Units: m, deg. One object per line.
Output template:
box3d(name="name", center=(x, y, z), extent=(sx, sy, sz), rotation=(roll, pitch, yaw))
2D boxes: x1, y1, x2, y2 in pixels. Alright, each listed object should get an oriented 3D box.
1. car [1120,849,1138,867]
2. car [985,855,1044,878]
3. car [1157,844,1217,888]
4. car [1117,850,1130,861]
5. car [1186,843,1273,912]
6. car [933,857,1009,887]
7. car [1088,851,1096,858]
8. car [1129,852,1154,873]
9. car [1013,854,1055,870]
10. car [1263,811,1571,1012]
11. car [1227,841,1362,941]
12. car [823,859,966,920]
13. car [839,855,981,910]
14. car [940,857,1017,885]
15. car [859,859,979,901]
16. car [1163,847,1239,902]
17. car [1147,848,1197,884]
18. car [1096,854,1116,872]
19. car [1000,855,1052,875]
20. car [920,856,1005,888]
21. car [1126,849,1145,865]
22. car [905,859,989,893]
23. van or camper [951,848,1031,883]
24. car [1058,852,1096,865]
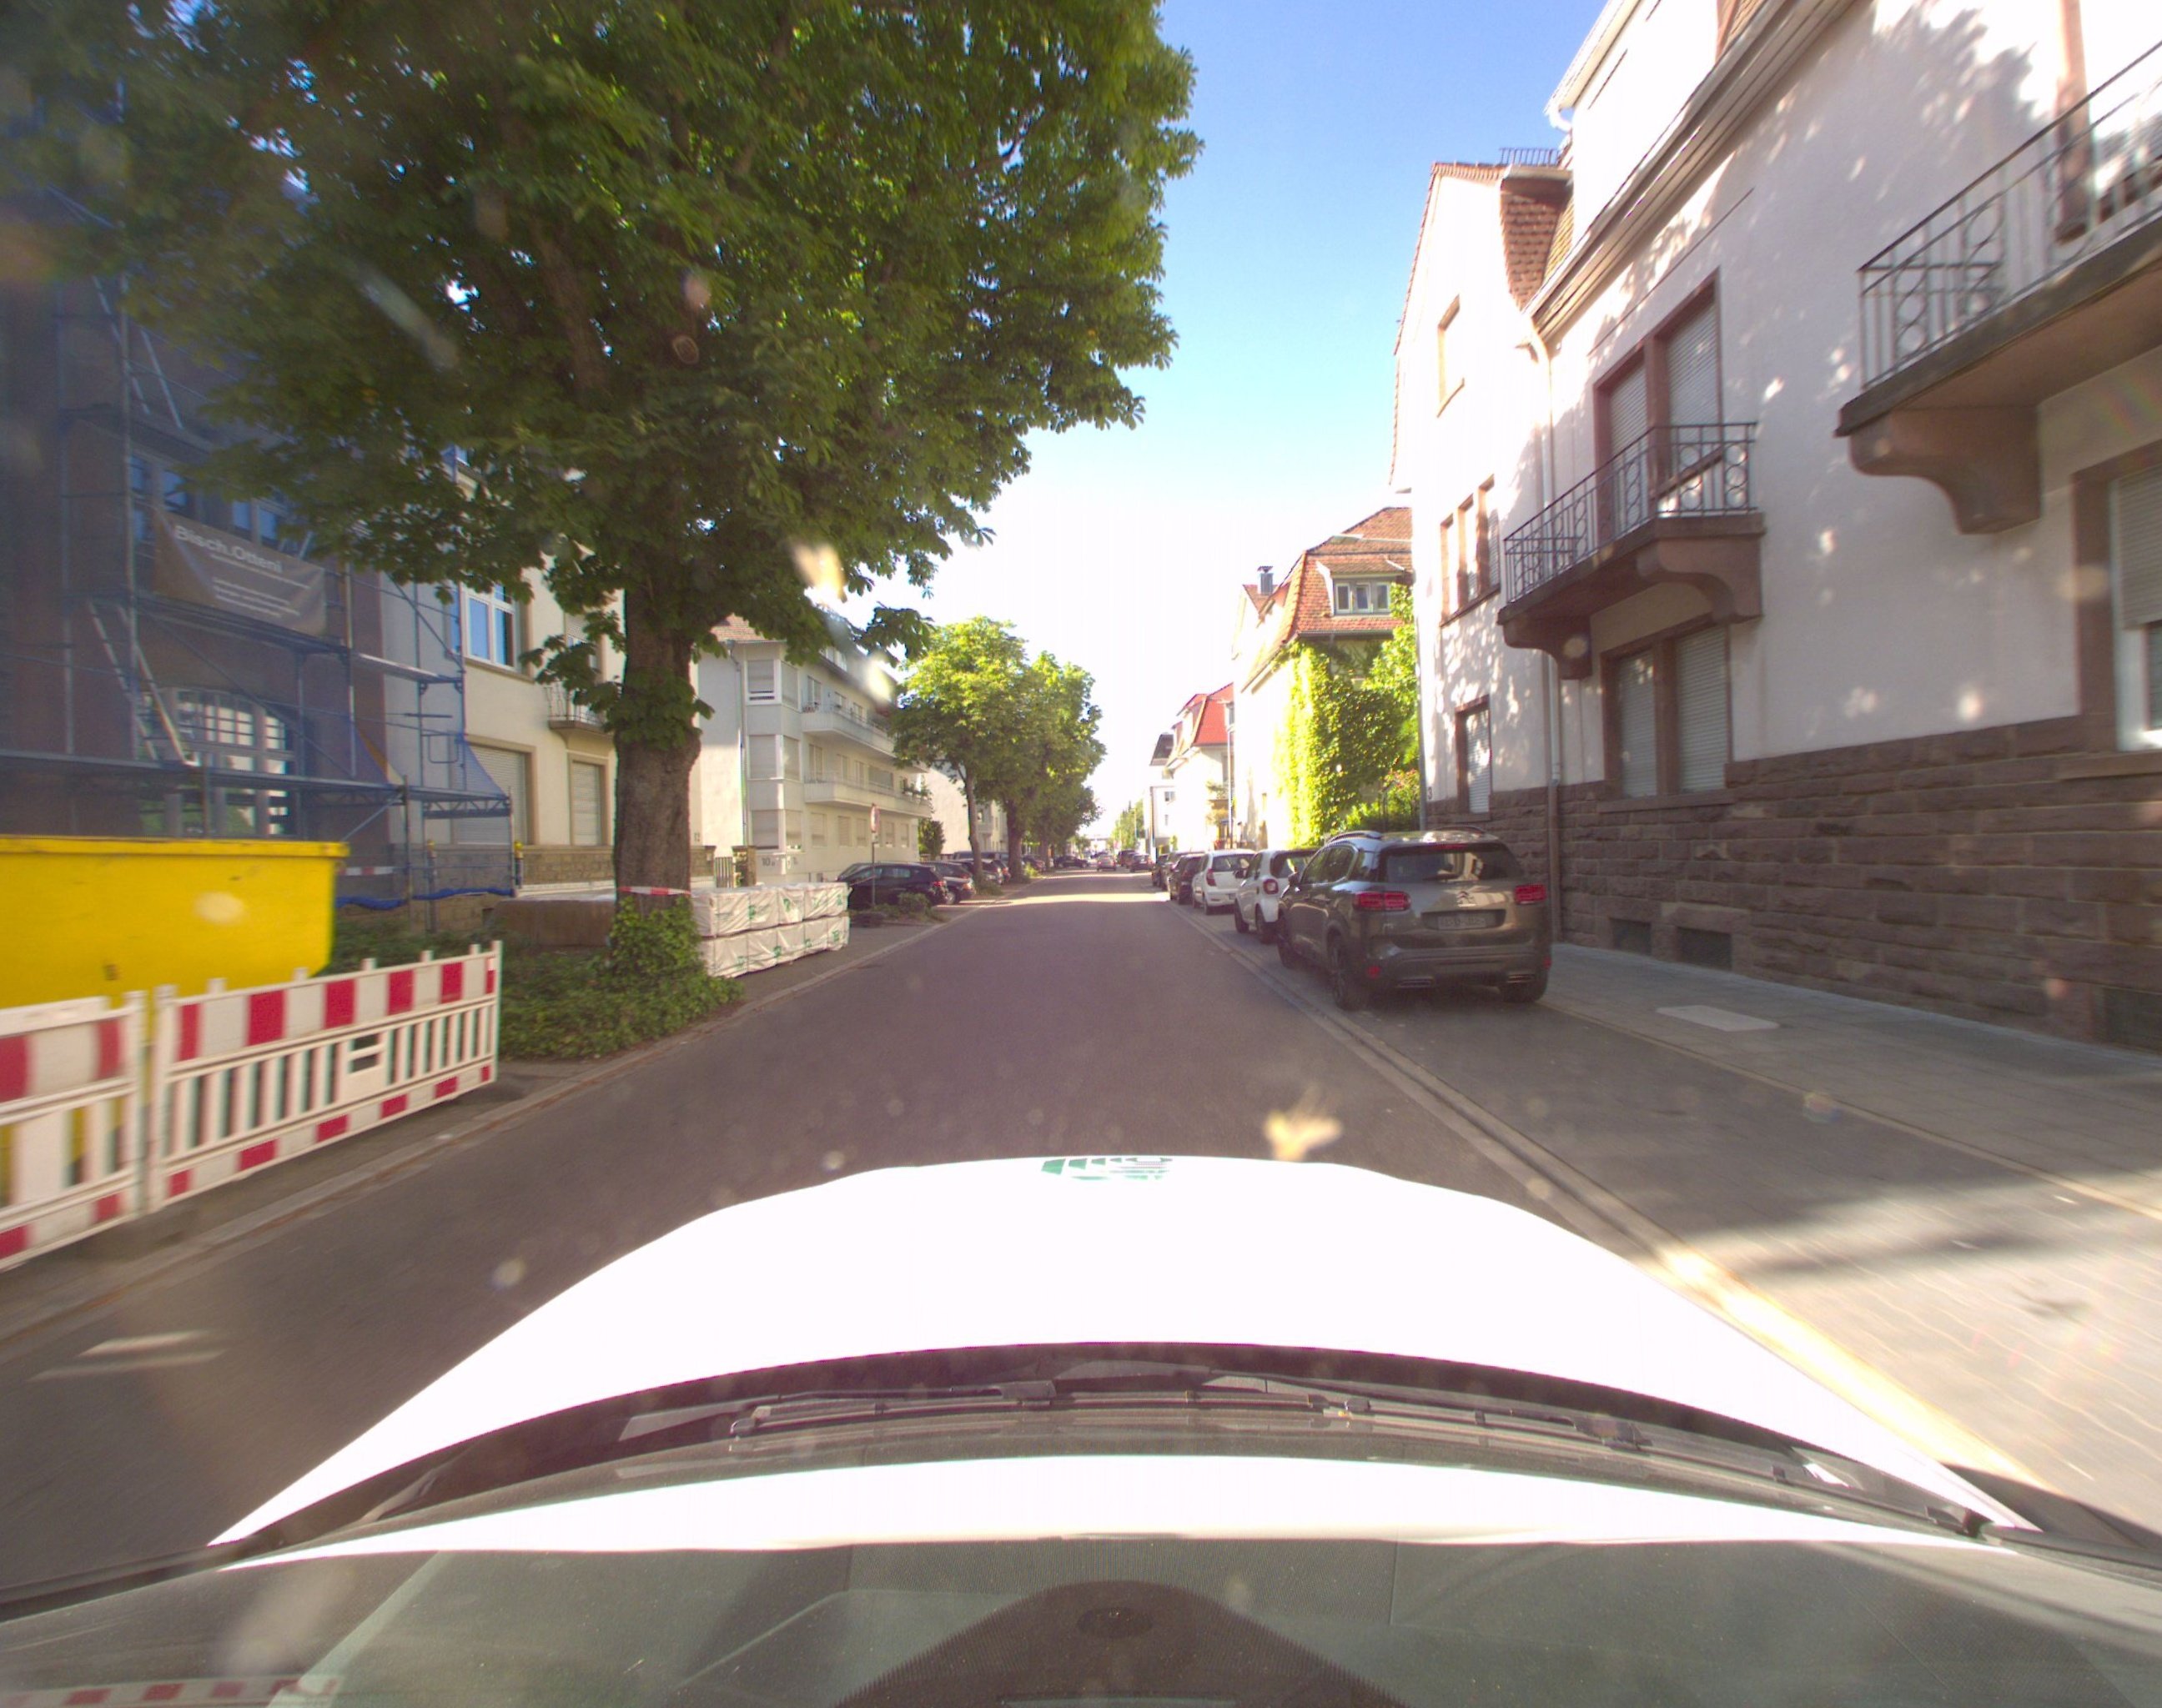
box3d(name="car", center=(5.403, 0.438, 92.433), extent=(1.864, 1.905, 5.200), rotation=(-3, -1, 2))
box3d(name="car", center=(-4.876, 0.910, 60.440), extent=(4.173, 1.498, 1.861), rotation=(-2, 0, 0))
box3d(name="car", center=(4.086, 0.469, 32.083), extent=(1.785, 1.520, 4.367), rotation=(-3, -1, 1))
box3d(name="car", center=(5.989, 0.228, 115.090), extent=(1.676, 1.435, 4.267), rotation=(-6, -1, 1))
box3d(name="car", center=(3.712, 0.579, 20.856), extent=(1.570, 1.549, 3.469), rotation=(-3, -1, 1))
box3d(name="car", center=(-5.450, 0.905, 40.697), extent=(3.465, 1.458, 1.798), rotation=(0, 0, 2))
box3d(name="car", center=(2.848, 0.088, 210.424), extent=(1.868, 1.728, 3.995), rotation=(-2, 0, -3))
box3d(name="car", center=(4.685, 0.621, 63.427), extent=(1.615, 1.439, 3.934), rotation=(-4, 0, 0))
box3d(name="car", center=(-4.640, 0.782, 80.749), extent=(4.009, 1.484, 1.807), rotation=(0, 0, 0))
box3d(name="car", center=(3.322, 0.517, 9.065), extent=(1.771, 1.696, 4.322), rotation=(0, -1, 2))
box3d(name="car", center=(3.606, 0.594, 14.215), extent=(1.619, 1.549, 2.869), rotation=(-1, -1, 1))
box3d(name="car", center=(-5.368, 0.999, 23.934), extent=(3.868, 1.514, 1.828), rotation=(-3, 0, -8))
box3d(name="car", center=(-5.817, 0.941, 28.146), extent=(4.586, 1.607, 1.828), rotation=(-3, 0, -8))
box3d(name="car", center=(-5.383, 0.873, 43.126), extent=(3.910, 1.414, 1.715), rotation=(0, 1, -1))
box3d(name="car", center=(-6.077, 0.969, 30.871), extent=(4.174, 1.441, 1.713), rotation=(-2, 0, 0))
box3d(name="car", center=(3.615, 0.617, 25.217), extent=(1.703, 1.436, 4.193), rotation=(-4, -1, 1))
box3d(name="car", center=(4.125, 0.558, 37.462), extent=(1.658, 1.520, 3.998), rotation=(-3, -1, -2))
box3d(name="car", center=(2.276, 0.803, 73.192), extent=(1.720, 1.420, 3.963), rotation=(-3, 0, 2))
box3d(name="car", center=(-4.400, 0.864, 65.742), extent=(3.973, 1.468, 1.697), rotation=(-2, 0, 0))
box3d(name="car", center=(-5.522, 0.850, 38.185), extent=(3.629, 1.463, 1.711), rotation=(0, 0, 3))
box3d(name="car", center=(5.315, 0.301, 80.042), extent=(1.586, 1.480, 3.248), rotation=(-4, 0, 1))
box3d(name="car", center=(-5.809, 0.944, 35.744), extent=(3.471, 1.420, 1.708), rotation=(0, -1, -4))
box3d(name="van or camper", center=(-5.314, 0.661, 48.557), extent=(4.481, 1.914, 1.964), rotation=(-2, 0, 1))
box3d(name="car", center=(-0.447, 0.527, 90.438), extent=(4.171, 1.448, 1.714), rotation=(0, -1, 3))
